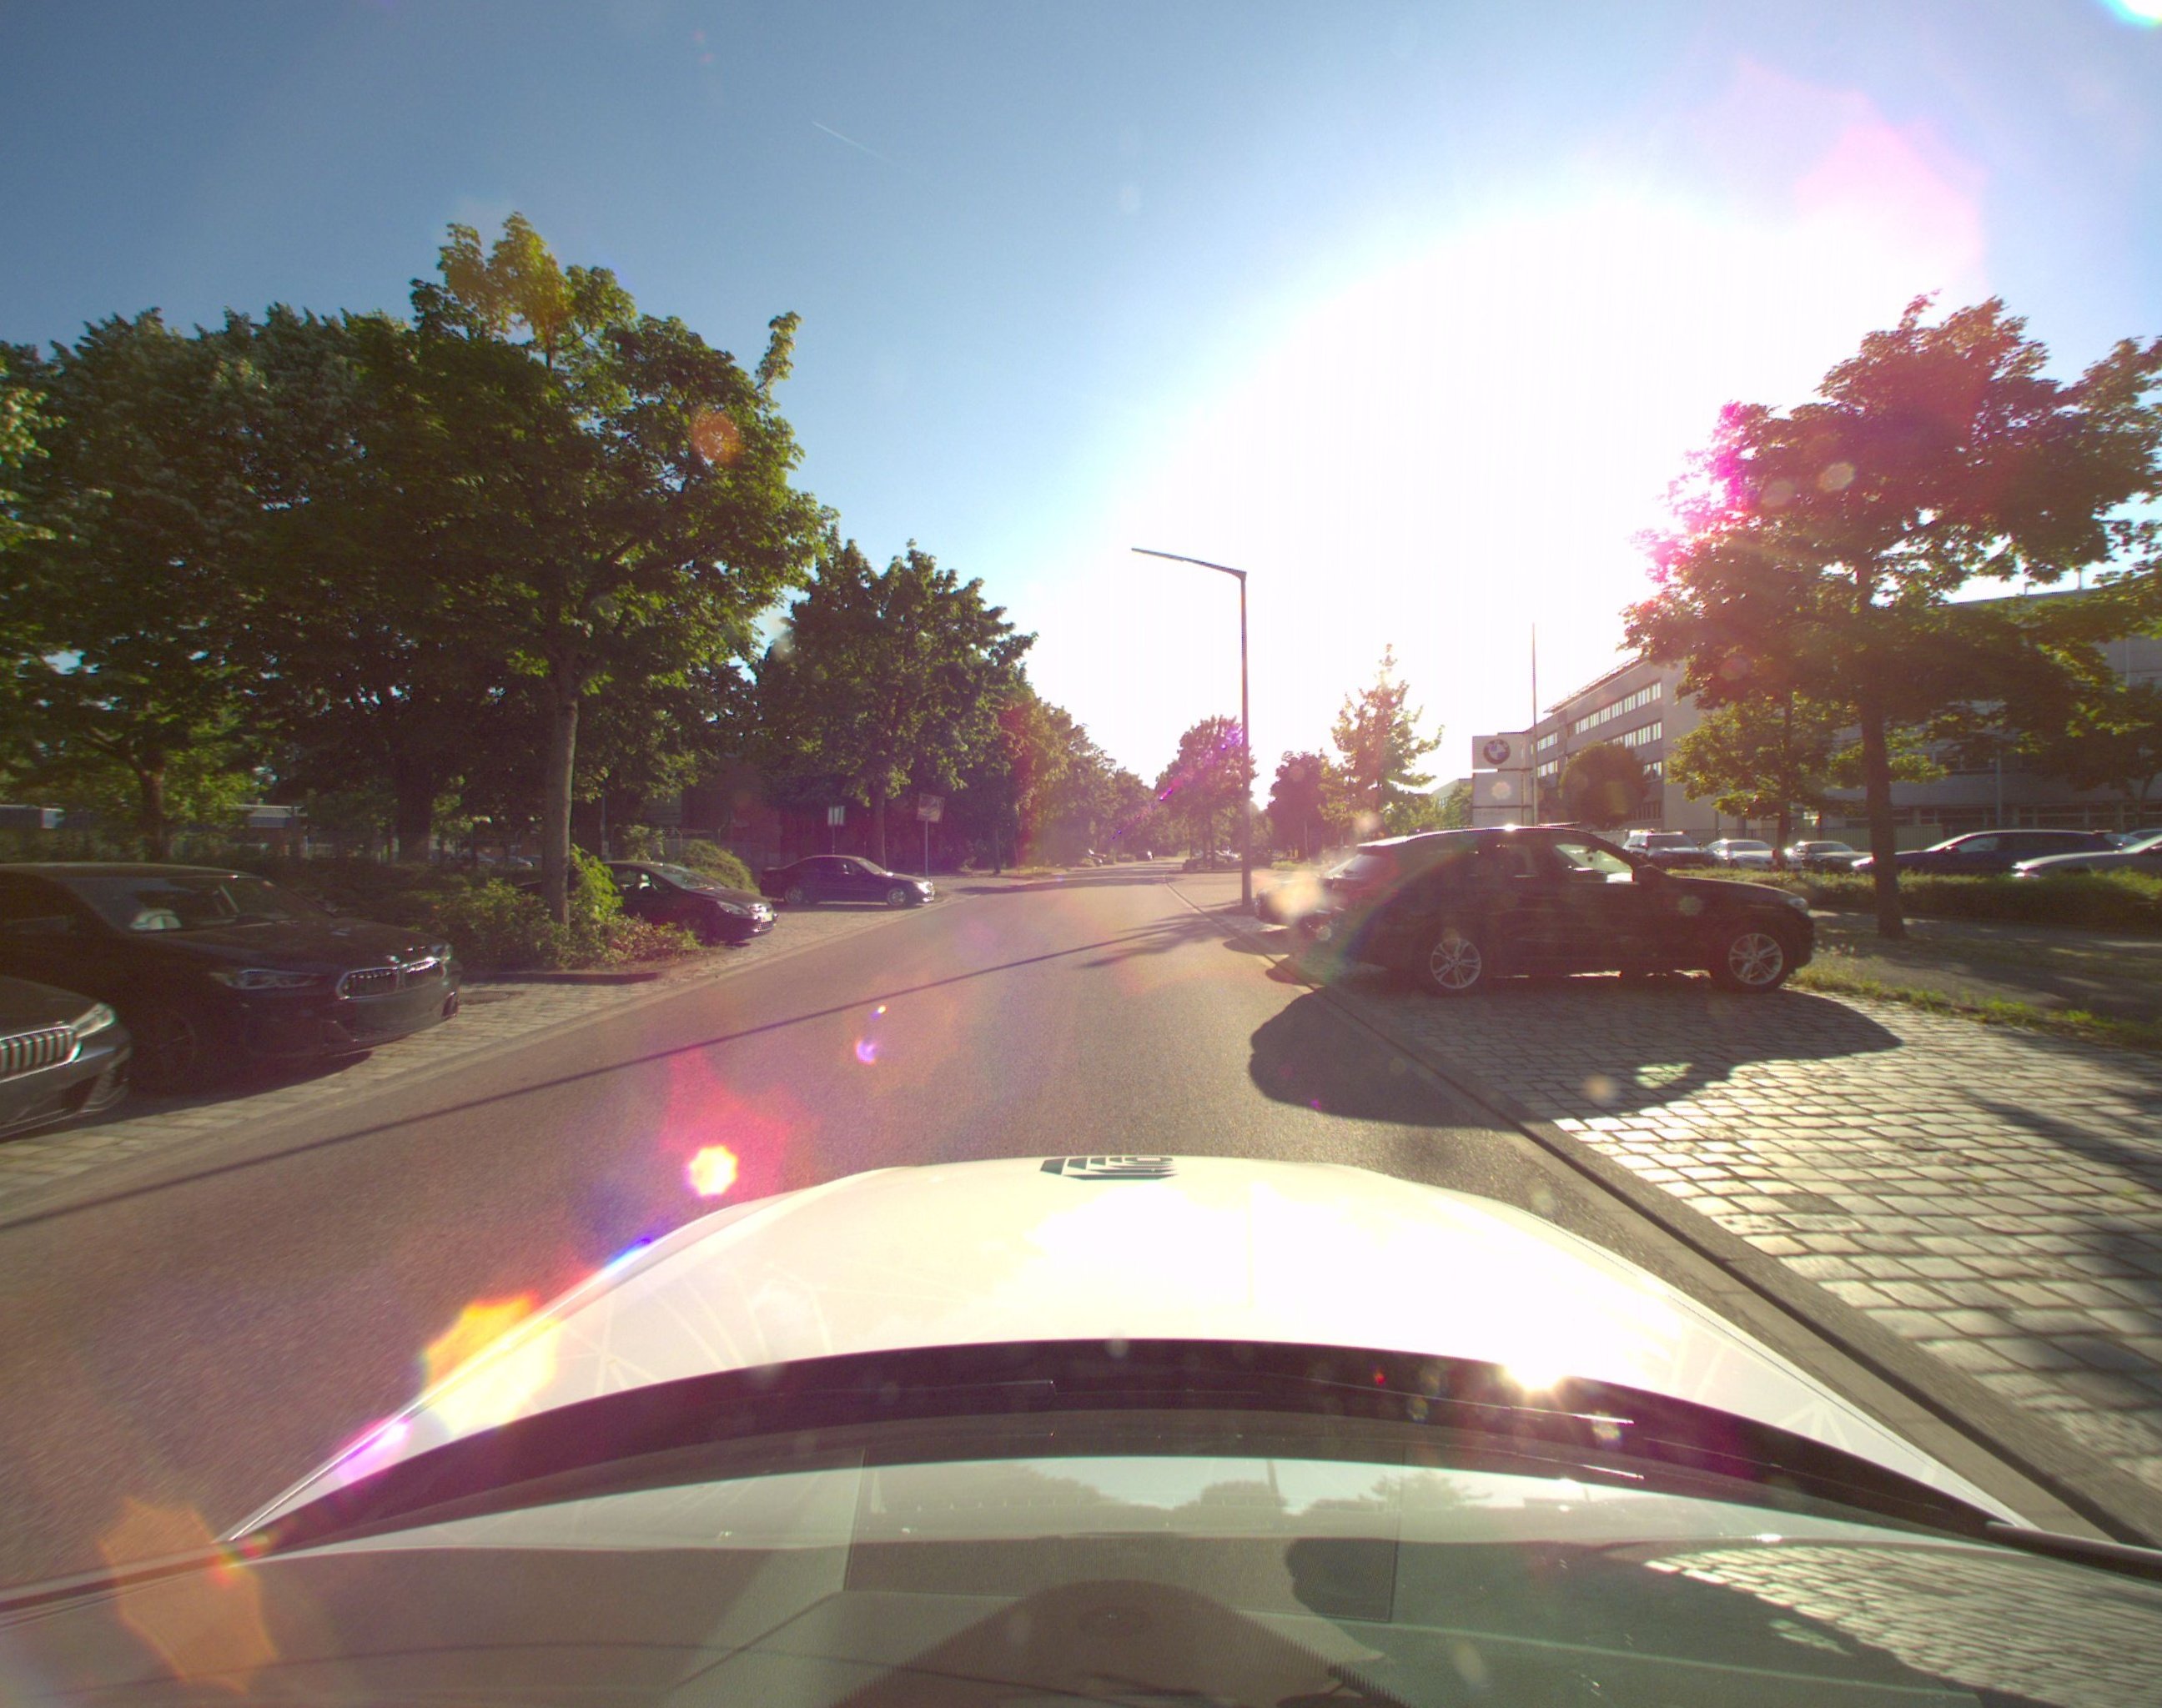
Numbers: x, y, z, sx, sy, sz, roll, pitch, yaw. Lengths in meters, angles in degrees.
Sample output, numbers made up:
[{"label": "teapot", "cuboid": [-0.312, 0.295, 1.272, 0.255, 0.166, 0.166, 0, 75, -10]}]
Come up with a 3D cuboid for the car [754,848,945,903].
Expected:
[{"label": "car", "cuboid": [-6.718, 0.599, 24.027, 5.016, 1.462, 2.001, 1, 0, 1]}]

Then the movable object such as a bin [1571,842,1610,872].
[{"label": "movable object such as a bin", "cuboid": [21.914, 0.120, 35.058, 1.111, 1.268, 1.040, -1, 0, 8]}]

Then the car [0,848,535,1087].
[{"label": "car", "cuboid": [-7.340, 0.768, 6.587, 4.463, 1.530, 2.001, 1, 0, 1]}]

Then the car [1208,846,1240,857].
[{"label": "car", "cuboid": [21.494, -0.379, 122.360, 4.320, 1.479, 2.011, -3, -1, 22]}]

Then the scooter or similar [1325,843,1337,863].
[{"label": "scooter or similar", "cuboid": [16.630, -0.078, 54.214, 0.517, 1.272, 1.390, -1, 0, 7]}]

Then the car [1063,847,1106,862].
[{"label": "car", "cuboid": [0.383, 0.070, 84.814, 4.187, 1.530, 1.710, -1, 0, 8]}]

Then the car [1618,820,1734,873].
[{"label": "car", "cuboid": [22.056, -0.283, 30.456, 2.015, 1.828, 4.999, -1, 1, 18]}]

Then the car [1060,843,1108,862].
[{"label": "car", "cuboid": [0.363, -0.203, 88.602, 4.976, 2.020, 2.180, -1, 0, 8]}]

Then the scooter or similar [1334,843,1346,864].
[{"label": "scooter or similar", "cuboid": [16.661, -0.036, 52.368, 0.517, 1.272, 1.203, -2, 0, 7]}]

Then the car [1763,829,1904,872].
[{"label": "car", "cuboid": [27.315, -0.156, 29.792, 2.015, 1.432, 4.581, -1, 1, 17]}]

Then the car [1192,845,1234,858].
[{"label": "car", "cuboid": [16.642, -0.297, 102.262, 5.143, 1.574, 2.164, -1, 0, 10]}]

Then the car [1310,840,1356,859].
[{"label": "car", "cuboid": [27.916, -0.541, 90.375, 2.006, 1.933, 4.906, -1, 2, -31]}]

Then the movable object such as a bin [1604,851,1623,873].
[{"label": "movable object such as a bin", "cuboid": [23.038, 0.343, 35.221, 0.501, 0.921, 0.606, -1, 0, 12]}]

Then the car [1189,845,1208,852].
[{"label": "car", "cuboid": [28.388, -1.431, 196.363, 4.325, 1.547, 2.009, 2, 1, 16]}]

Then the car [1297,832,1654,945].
[{"label": "car", "cuboid": [5.757, 0.476, 12.382, 4.463, 1.550, 2.035, -1, 0, 2]}]

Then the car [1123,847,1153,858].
[{"label": "car", "cuboid": [8.753, -0.221, 125.161, 4.329, 1.479, 2.007, 2, 1, 12]}]

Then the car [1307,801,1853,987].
[{"label": "car", "cuboid": [5.068, 0.388, 8.989, 4.671, 1.751, 2.195, -1, 0, 5]}]

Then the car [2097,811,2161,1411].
[{"label": "car", "cuboid": [4.957, 0.555, 1.082, 4.678, 1.479, 2.000, -2, 0, 1]}]

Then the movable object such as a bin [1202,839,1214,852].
[{"label": "movable object such as a bin", "cuboid": [32.558, -2.151, 208.436, 2.820, 3.068, 4.943, 2, 1, 11]}]

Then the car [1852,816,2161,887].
[{"label": "car", "cuboid": [21.247, -0.041, 18.967, 4.729, 1.463, 2.012, -1, 0, 43]}]

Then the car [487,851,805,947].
[{"label": "car", "cuboid": [-7.442, 0.736, 14.295, 4.463, 1.462, 2.001, 1, 0, 1]}]

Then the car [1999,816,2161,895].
[{"label": "car", "cuboid": [21.002, 0.001, 15.330, 4.729, 1.463, 2.059, -1, 0, 43]}]

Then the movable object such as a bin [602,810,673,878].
[{"label": "movable object such as a bin", "cuboid": [-18.632, -0.404, 34.080, 2.173, 2.664, 4.754, -1, 0, -34]}]

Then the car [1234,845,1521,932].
[{"label": "car", "cuboid": [5.155, 0.573, 14.681, 4.465, 1.404, 2.034, -1, 0, 1]}]

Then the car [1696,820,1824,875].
[{"label": "car", "cuboid": [24.540, -0.226, 29.666, 2.015, 1.828, 4.581, -1, 1, 17]}]

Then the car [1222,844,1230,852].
[{"label": "car", "cuboid": [45.654, -1.846, 256.460, 2.502, 2.386, 4.384, -1, 0, 9]}]

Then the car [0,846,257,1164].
[{"label": "car", "cuboid": [-7.720, 0.709, 4.177, 4.835, 1.530, 1.999, 1, 0, -1]}]
